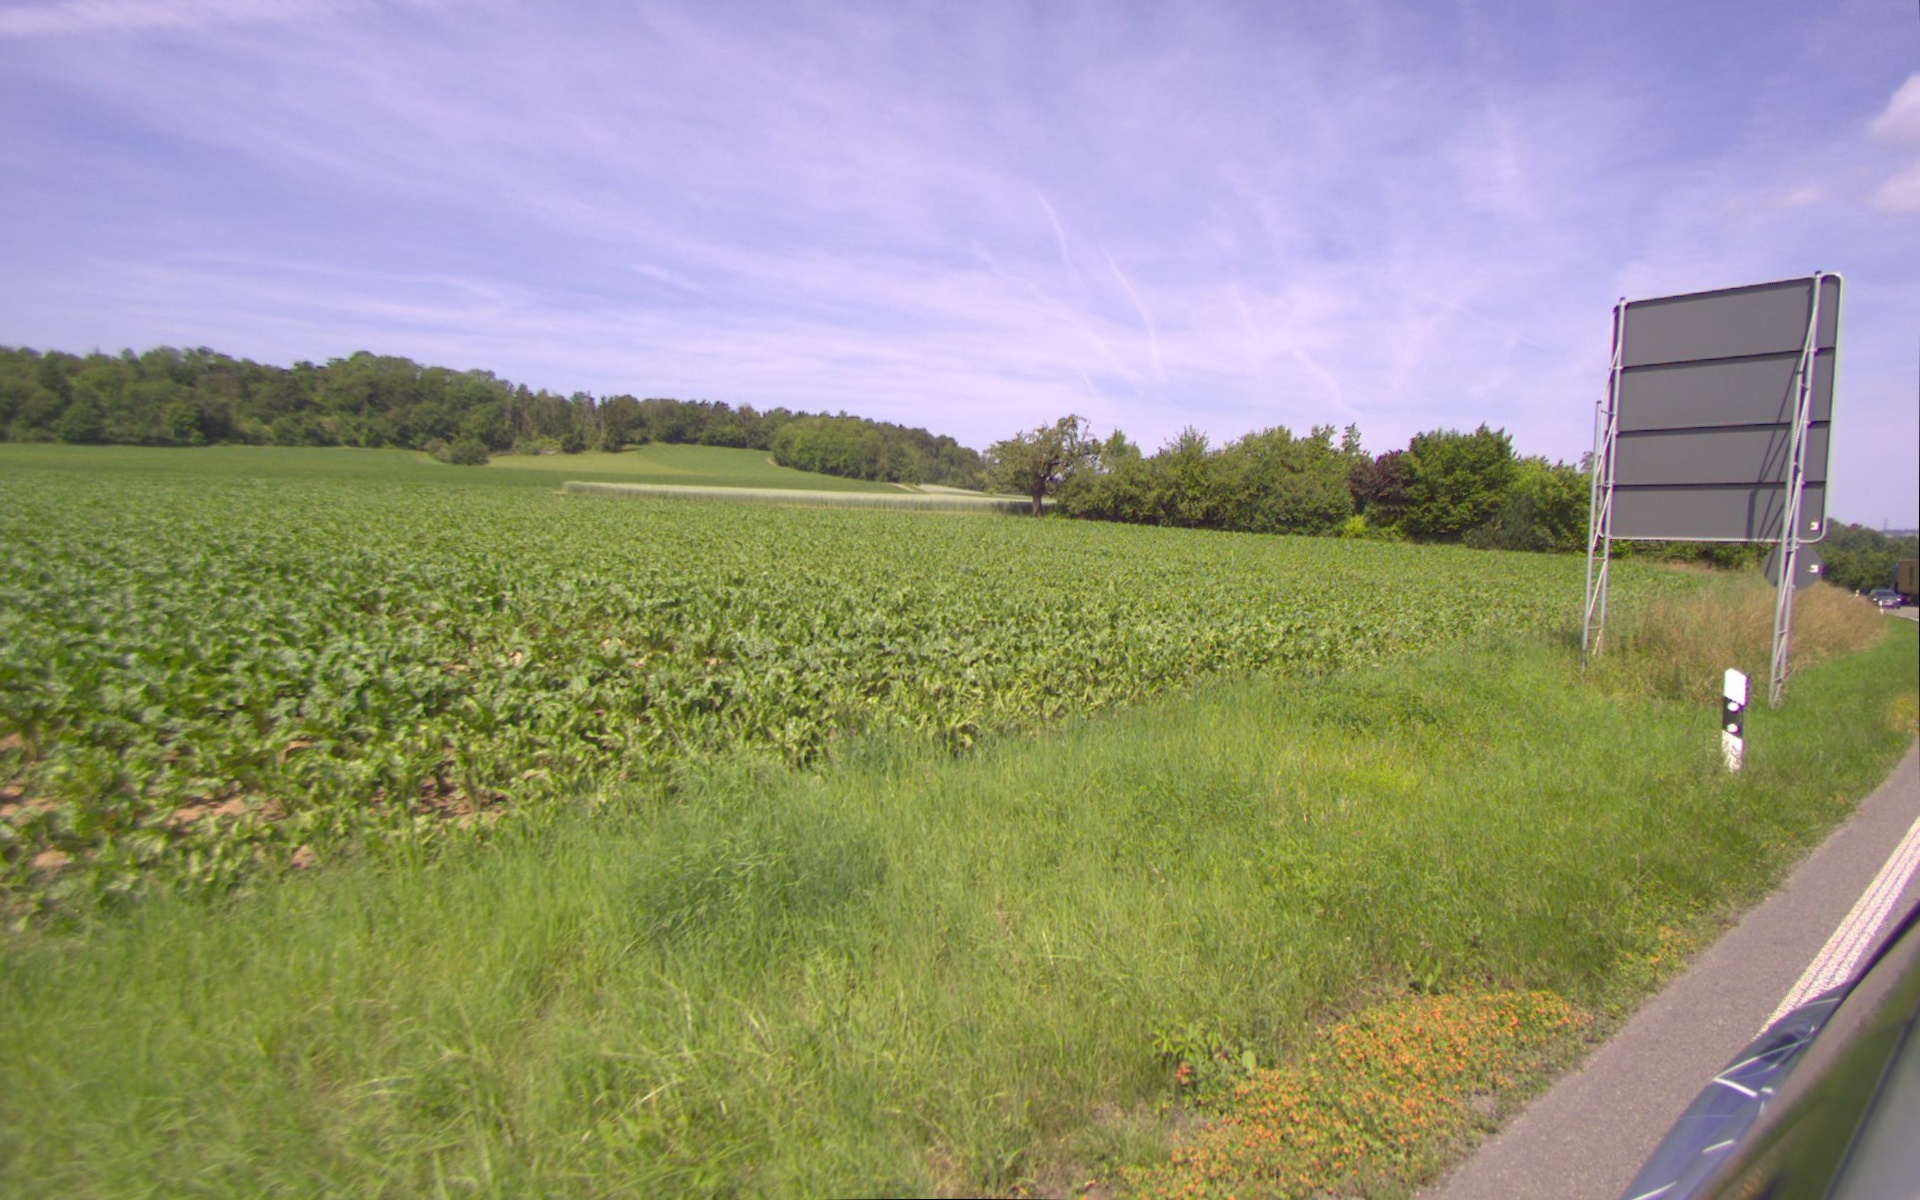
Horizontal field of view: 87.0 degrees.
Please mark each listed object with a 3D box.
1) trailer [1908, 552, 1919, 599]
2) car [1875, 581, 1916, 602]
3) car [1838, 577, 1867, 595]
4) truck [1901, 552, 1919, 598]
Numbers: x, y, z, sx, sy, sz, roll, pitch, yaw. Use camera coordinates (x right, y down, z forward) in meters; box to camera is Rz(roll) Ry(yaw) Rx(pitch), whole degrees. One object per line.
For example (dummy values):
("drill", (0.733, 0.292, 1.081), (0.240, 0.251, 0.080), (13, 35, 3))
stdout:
("trailer", (84.016, -2.047, 86.273), (2.989, 4.093, 12.753), (2, 2, 36))
("car", (74.791, -0.682, 80.922), (1.814, 1.538, 3.950), (3, 3, 35))
("car", (87.188, -1.380, 98.893), (1.657, 1.670, 3.949), (2, 3, 36))
("truck", (88.063, -2.277, 92.081), (2.799, 4.117, 5.909), (1, 2, 36))
